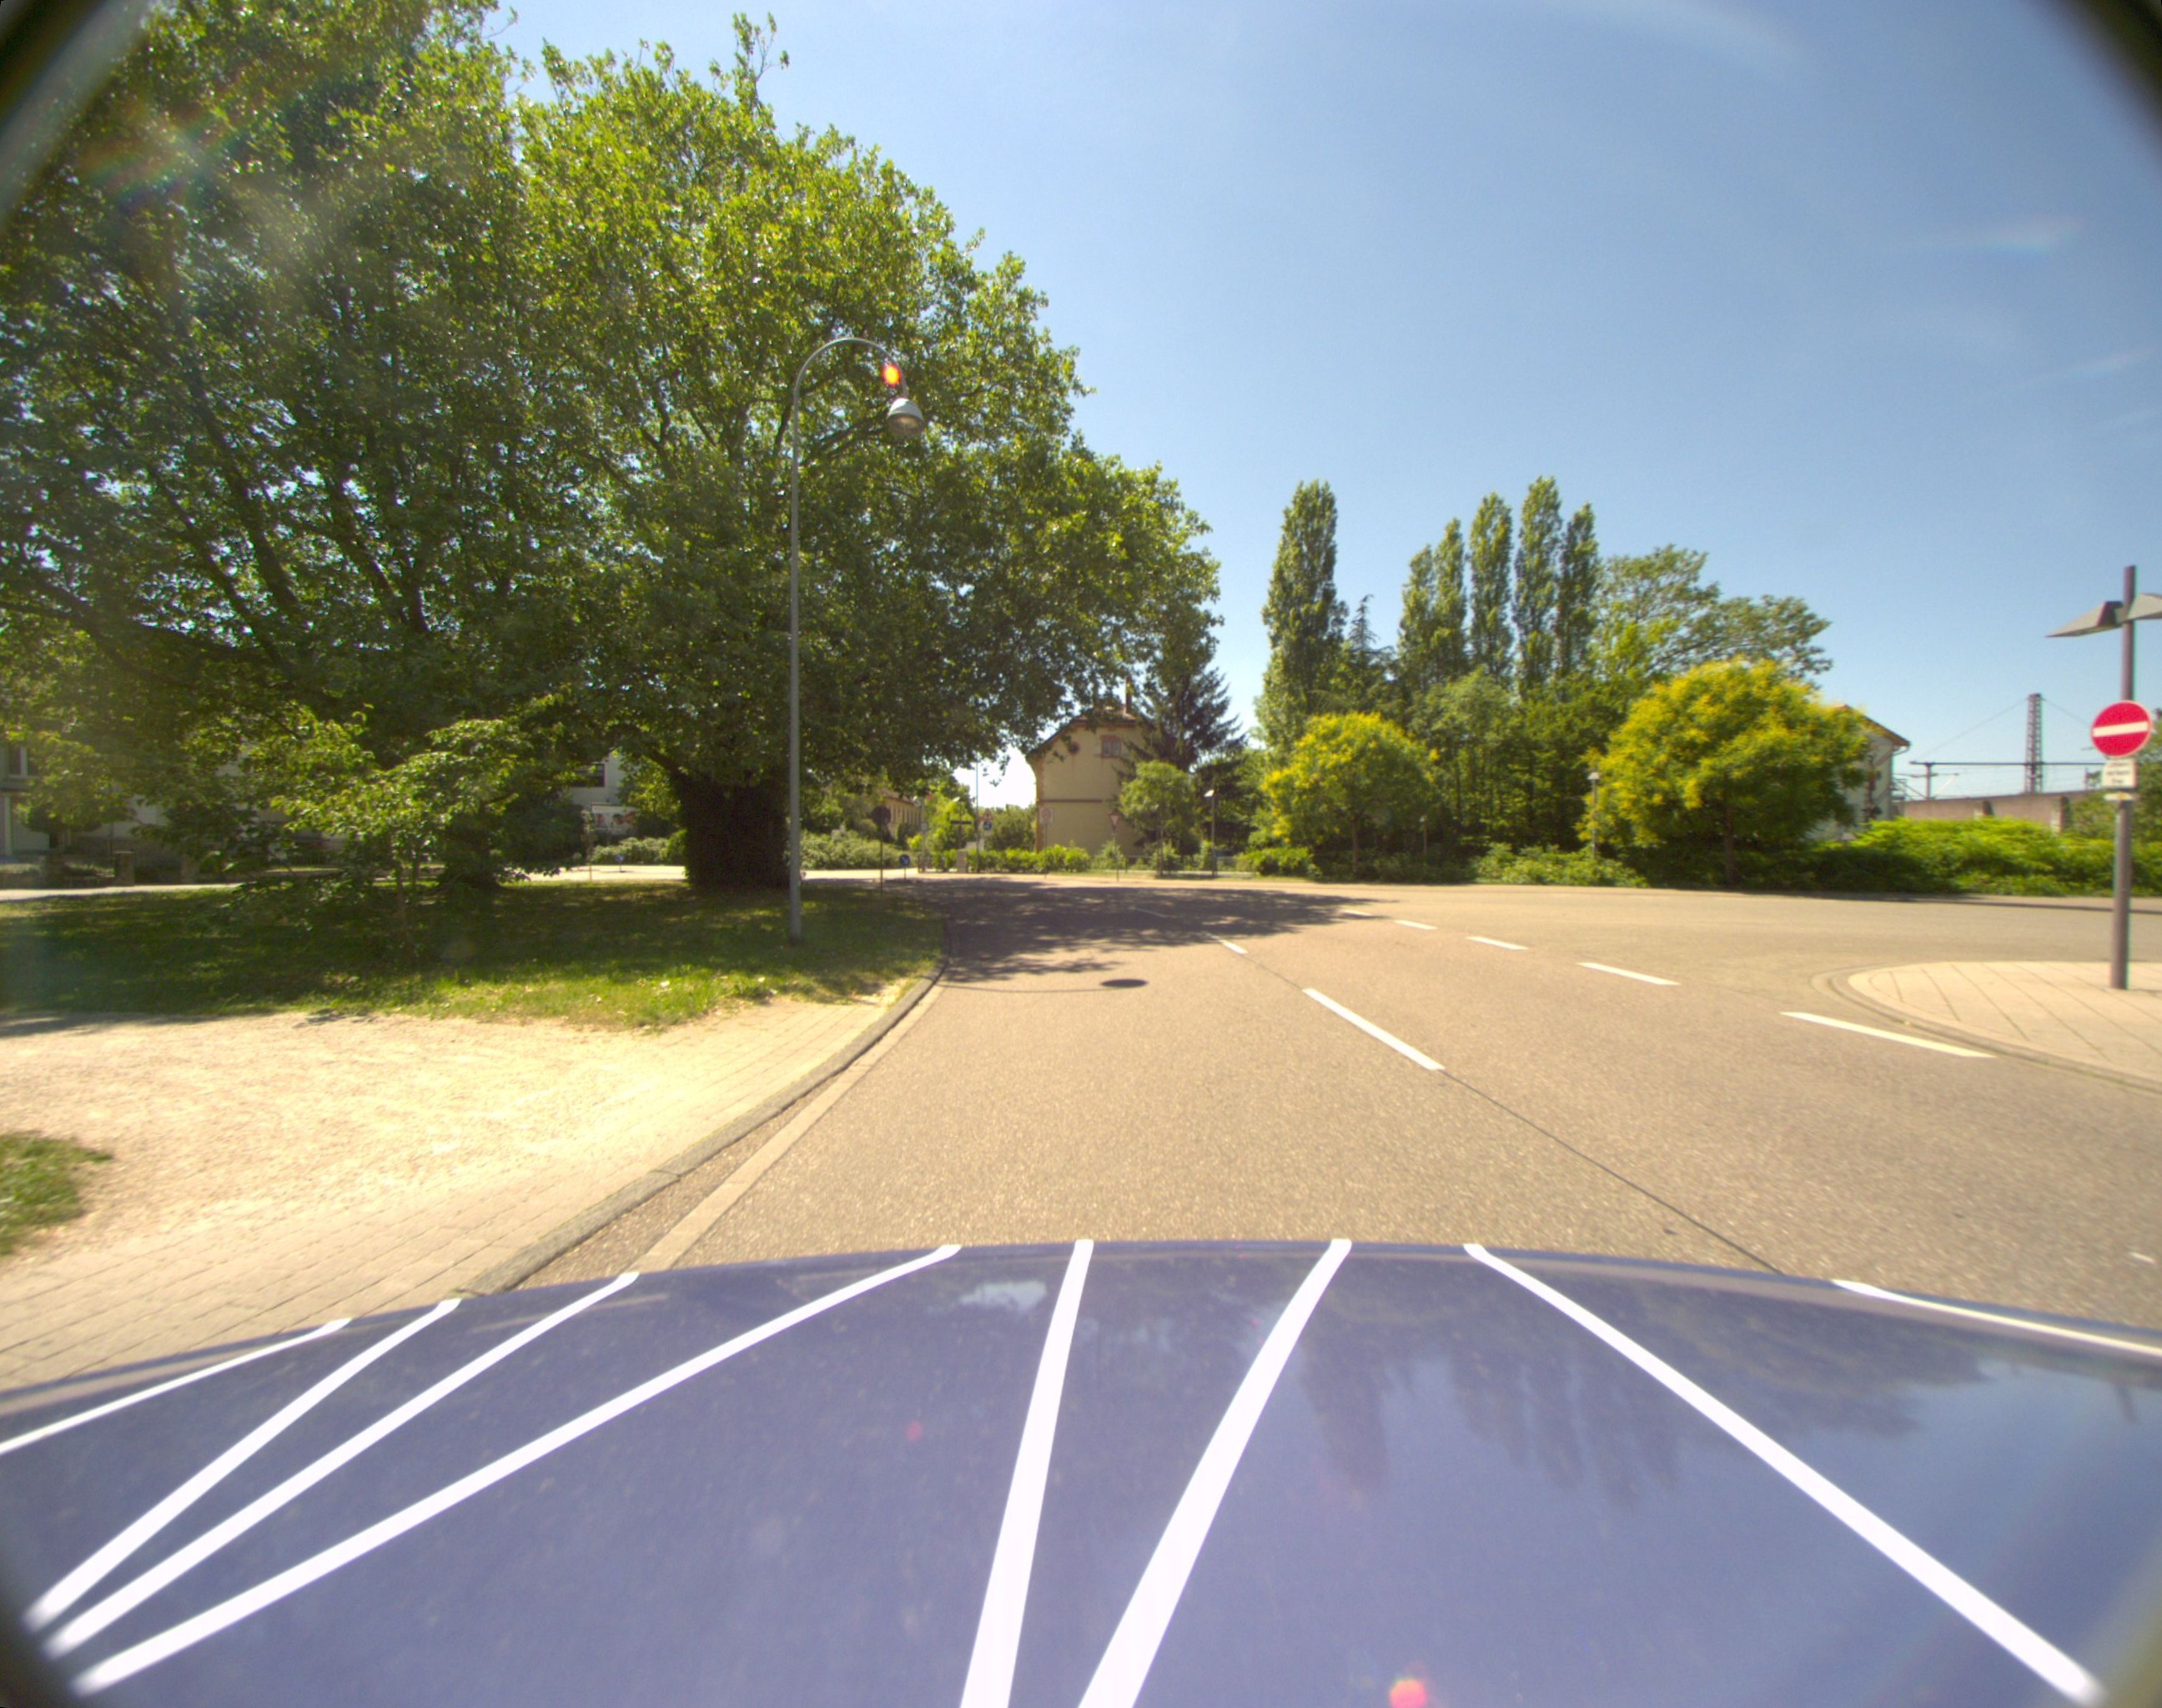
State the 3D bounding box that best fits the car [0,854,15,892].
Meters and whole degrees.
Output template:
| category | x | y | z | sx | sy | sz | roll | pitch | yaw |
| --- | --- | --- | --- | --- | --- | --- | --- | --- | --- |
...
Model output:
| category | x | y | z | sx | sy | sz | roll | pitch | yaw |
| --- | --- | --- | --- | --- | --- | --- | --- | --- | --- |
| car | -45.749 | 0.765 | 30.283 | 3.995 | 1.559 | 2.000 | 0 | 1 | 4 |
